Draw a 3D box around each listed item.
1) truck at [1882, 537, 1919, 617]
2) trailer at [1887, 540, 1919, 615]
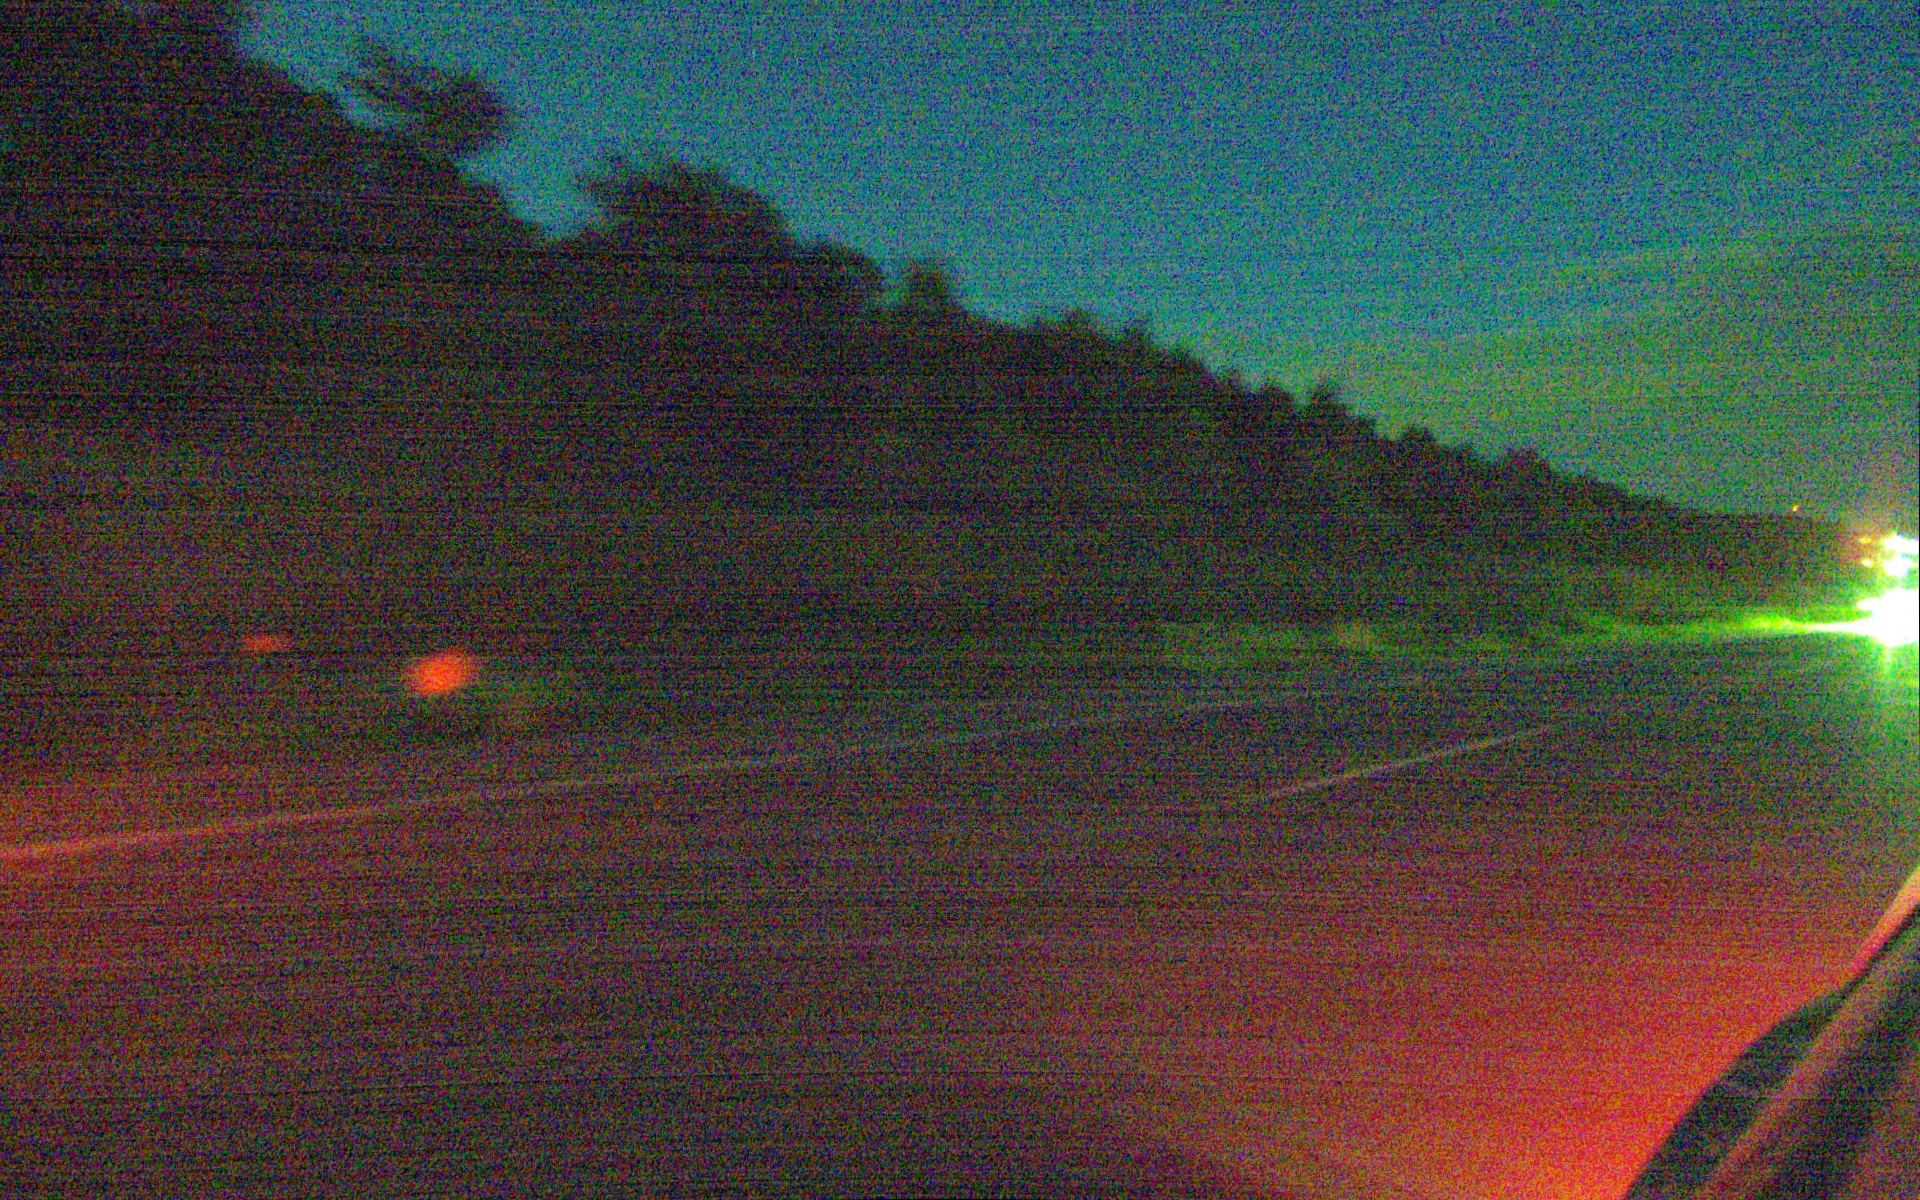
[{"bbox_3d":[56.751,-1.339,59.549,6.880,4.489,3.339,-1,0,-45],"label":"truck"},{"bbox_3d":[62.160,-1.444,64.909,13.356,4.489,3.339,-1,0,-45],"label":"trailer"}]
